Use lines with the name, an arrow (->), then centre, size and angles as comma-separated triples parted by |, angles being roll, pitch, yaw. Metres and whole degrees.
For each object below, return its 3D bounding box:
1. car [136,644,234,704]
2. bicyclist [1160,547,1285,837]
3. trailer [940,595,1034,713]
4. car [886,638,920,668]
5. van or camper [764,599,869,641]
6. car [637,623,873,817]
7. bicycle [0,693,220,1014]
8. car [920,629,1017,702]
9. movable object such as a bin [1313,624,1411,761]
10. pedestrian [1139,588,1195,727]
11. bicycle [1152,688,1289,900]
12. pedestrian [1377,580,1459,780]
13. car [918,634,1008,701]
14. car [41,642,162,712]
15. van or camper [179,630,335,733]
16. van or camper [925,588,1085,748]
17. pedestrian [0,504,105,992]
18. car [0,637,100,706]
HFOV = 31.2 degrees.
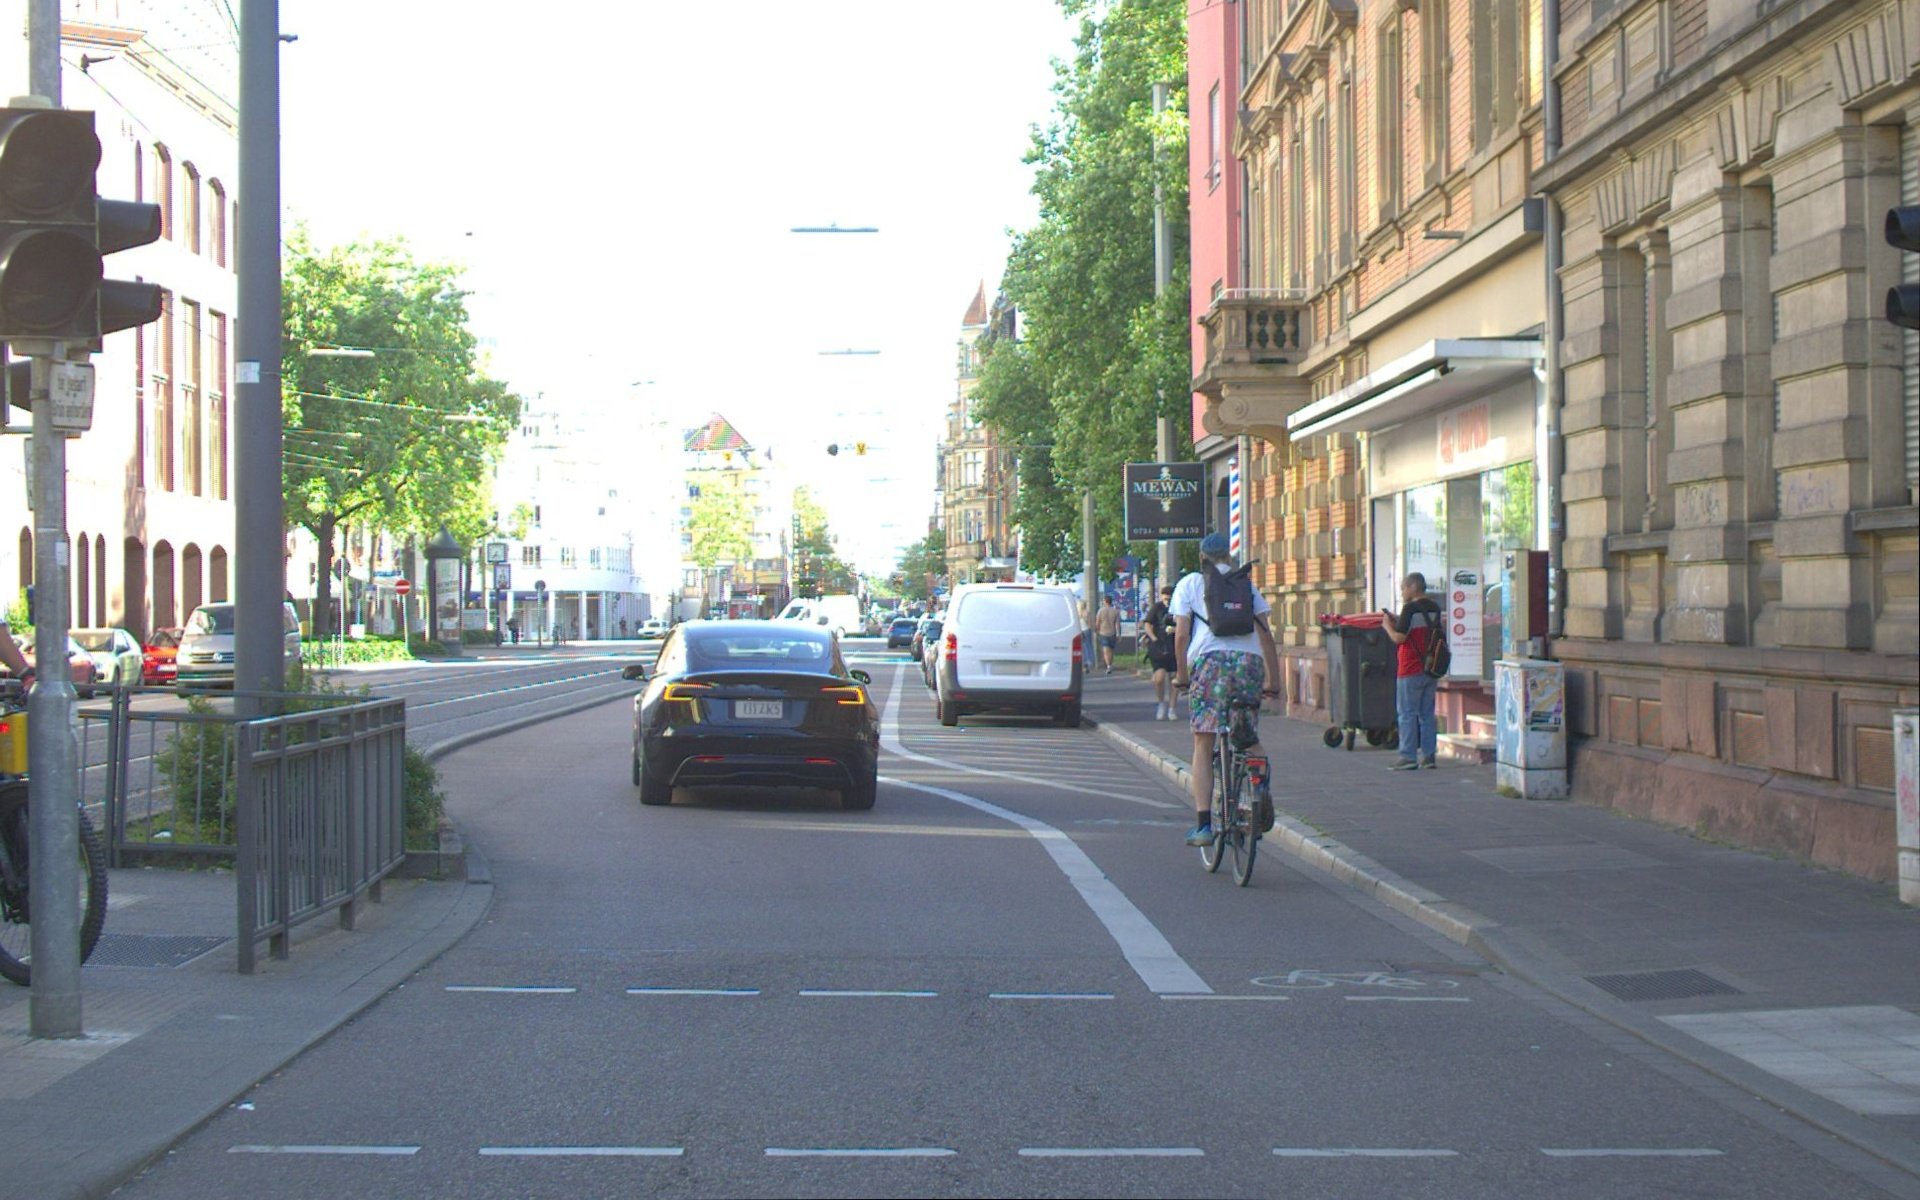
car -> -19.352, 1.830, 85.977 | 1.659, 1.417, 3.620 | 1, -1, -1
bicyclist -> 1.520, 0.528, 20.046 | 0.655, 1.650, 0.927 | 0, -1, 1
trailer -> 0.499, 1.008, 64.720 | 1.661, 2.110, 3.842 | 2, -1, 0
car -> -2.770, 2.614, 168.730 | 1.593, 1.428, 3.686 | -1, -1, 0
van or camper -> -9.184, 1.263, 220.172 | 6.861, 2.645, 2.146 | 0, -1, -41
car -> -1.588, 0.902, 27.347 | 1.719, 1.400, 3.710 | 1, 0, -2
bicycle -> -3.756, 0.905, 13.041 | 1.942, 1.090, 0.597 | 3, -1, 33
car -> 0.140, 1.379, 72.701 | 1.802, 1.430, 4.324 | 2, -1, -2
movable object such as a bin -> 4.013, 0.918, 34.421 | 0.775, 1.343, 1.299 | 0, -1, -2
pedestrian -> 2.724, 0.758, 45.298 | 0.672, 1.808, 0.756 | 0, -1, -2
bicycle -> 1.500, 1.100, 20.077 | 0.647, 1.135, 2.095 | 1, -1, 1
pedestrian -> 4.001, 0.691, 30.024 | 0.470, 1.723, 0.586 | -1, 0, 35
car -> 0.096, 1.496, 77.329 | 1.750, 1.438, 4.314 | 1, 0, 4
car -> -19.063, 1.687, 76.478 | 1.669, 1.463, 4.290 | 1, -1, -1
van or camper -> -14.319, 1.631, 70.294 | 1.993, 1.934, 4.833 | -3, -1, 2
van or camper -> 0.554, 0.941, 47.309 | 1.931, 2.030, 5.475 | 1, -1, -2
pedestrian -> -3.803, 0.545, 12.942 | 0.594, 1.815, 0.940 | 1, -1, 32
car -> -19.246, 1.447, 70.861 | 1.960, 1.321, 4.821 | 1, -1, -2
